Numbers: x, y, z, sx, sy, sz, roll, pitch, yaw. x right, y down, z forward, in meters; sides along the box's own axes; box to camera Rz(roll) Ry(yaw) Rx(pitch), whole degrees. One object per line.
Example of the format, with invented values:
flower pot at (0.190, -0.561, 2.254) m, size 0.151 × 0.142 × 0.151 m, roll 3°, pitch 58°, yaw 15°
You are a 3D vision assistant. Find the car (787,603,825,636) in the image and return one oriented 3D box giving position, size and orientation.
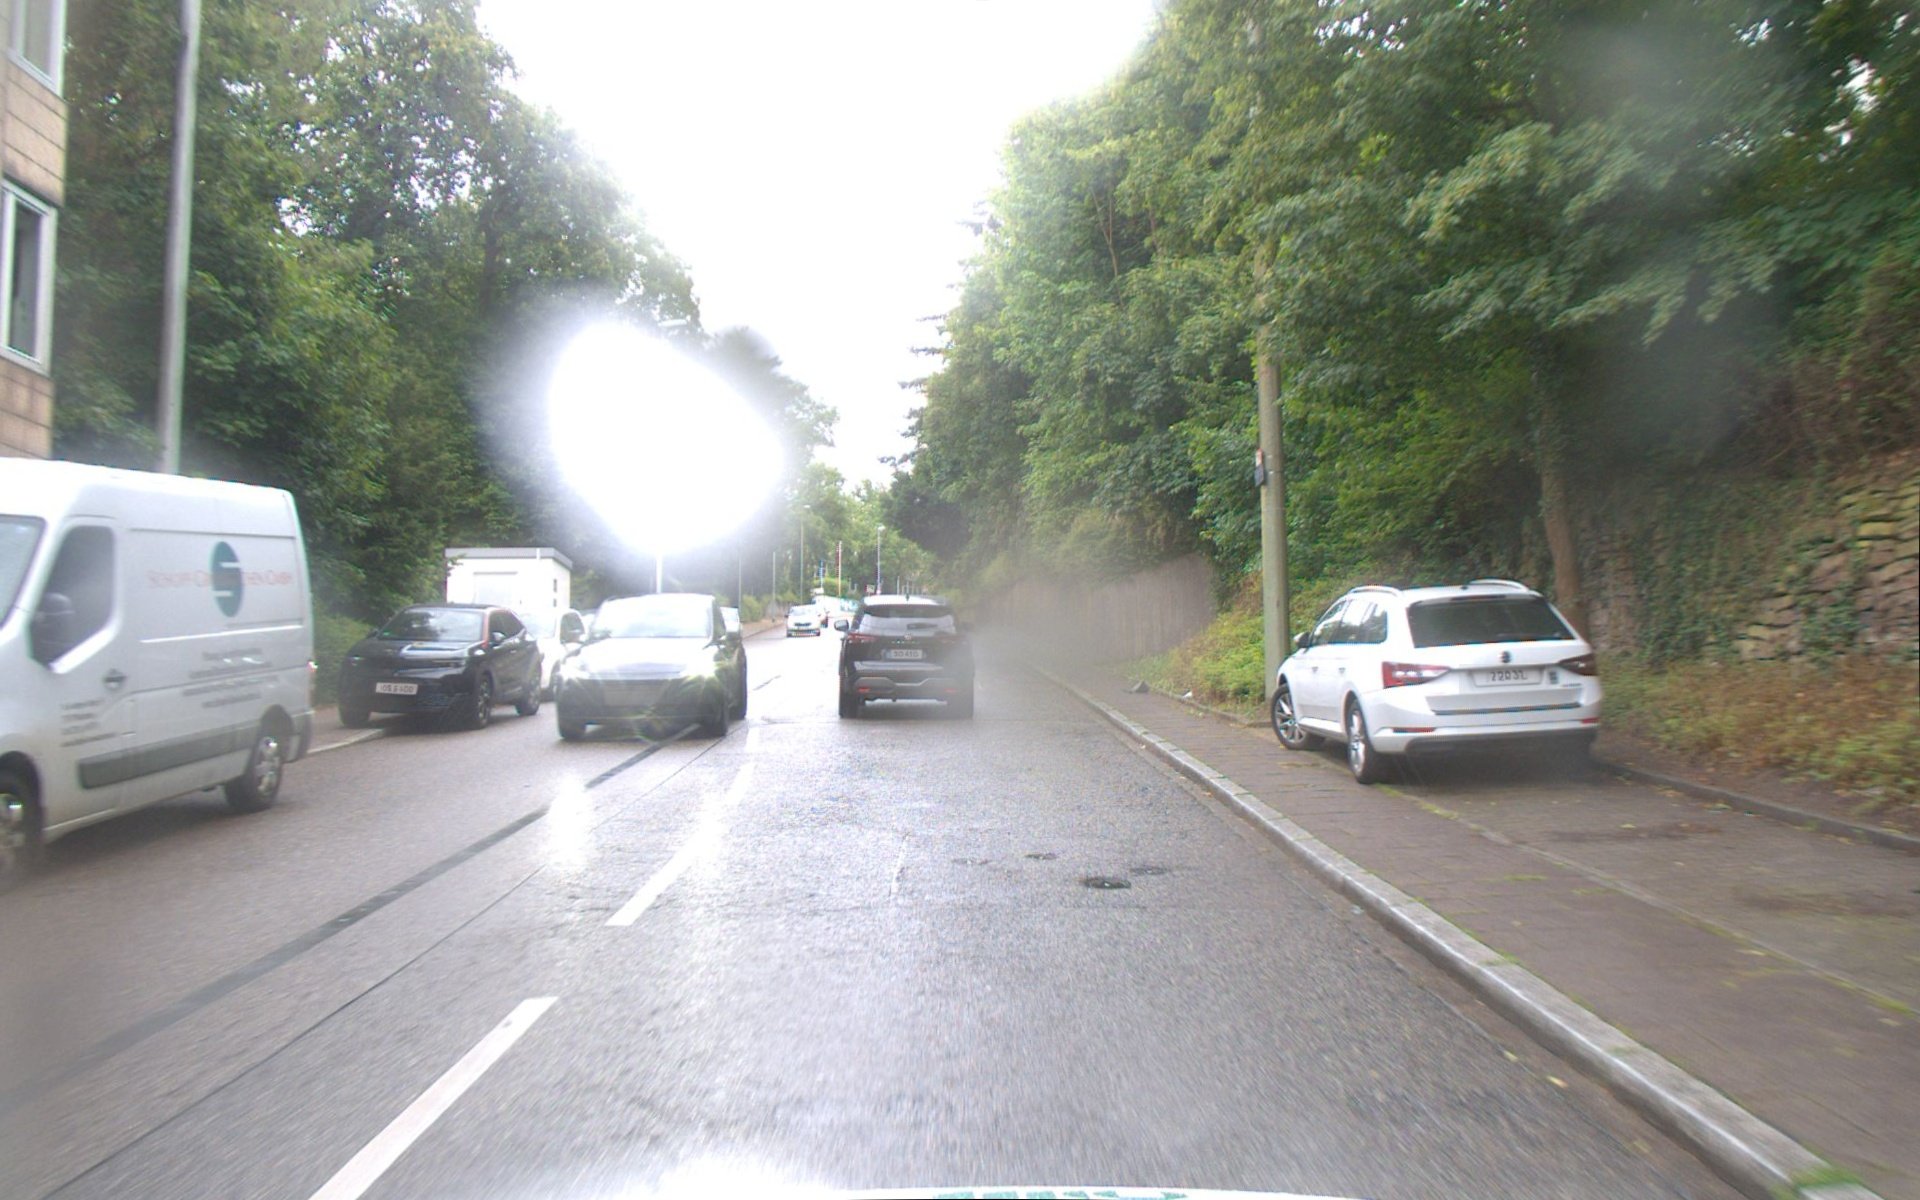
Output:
car at (-7.537, 0.940, 81.429) m, size 1.691 × 1.460 × 3.909 m, roll -3°, pitch 0°, yaw -4°

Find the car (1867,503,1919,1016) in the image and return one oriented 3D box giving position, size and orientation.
car at (4.014, 0.474, 3.259) m, size 1.729 × 1.652 × 4.677 m, roll -1°, pitch -1°, yaw -2°

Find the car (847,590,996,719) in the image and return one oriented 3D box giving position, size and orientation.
car at (-0.623, 0.694, 23.087) m, size 1.890 × 1.641 × 3.996 m, roll 0°, pitch 0°, yaw -4°

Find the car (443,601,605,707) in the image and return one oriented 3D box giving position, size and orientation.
car at (-7.247, 0.844, 27.887) m, size 1.622 × 1.597 × 4.148 m, roll -2°, pitch 0°, yaw 0°

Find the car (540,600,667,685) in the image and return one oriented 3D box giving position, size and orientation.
car at (-7.363, 0.835, 34.612) m, size 1.823 × 1.519 × 4.752 m, roll -4°, pitch 0°, yaw -4°

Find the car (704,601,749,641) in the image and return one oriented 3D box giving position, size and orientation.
car at (-9.398, 0.814, 66.814) m, size 1.595 × 1.525 × 3.923 m, roll 2°, pitch 0°, yaw -6°

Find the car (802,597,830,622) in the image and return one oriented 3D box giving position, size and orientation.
car at (-9.327, 0.608, 107.066) m, size 1.726 × 1.517 × 3.996 m, roll -2°, pitch 0°, yaw -4°

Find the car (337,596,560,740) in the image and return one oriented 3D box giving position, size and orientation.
car at (-6.639, 0.811, 21.920) m, size 1.611 × 1.632 × 4.185 m, roll -3°, pitch 0°, yaw -1°

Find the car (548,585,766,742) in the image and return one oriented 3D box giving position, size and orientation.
car at (-3.536, 0.685, 20.123) m, size 1.897 × 1.653 × 4.498 m, roll -1°, pitch 0°, yaw -2°

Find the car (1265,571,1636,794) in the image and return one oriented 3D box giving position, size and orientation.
car at (3.939, 0.583, 14.169) m, size 1.703 × 1.503 × 4.739 m, roll -3°, pitch 0°, yaw 0°

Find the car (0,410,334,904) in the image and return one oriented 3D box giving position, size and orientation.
car at (-6.119, 0.336, 10.658) m, size 2.074 × 2.595 × 5.442 m, roll -3°, pitch 0°, yaw -1°
